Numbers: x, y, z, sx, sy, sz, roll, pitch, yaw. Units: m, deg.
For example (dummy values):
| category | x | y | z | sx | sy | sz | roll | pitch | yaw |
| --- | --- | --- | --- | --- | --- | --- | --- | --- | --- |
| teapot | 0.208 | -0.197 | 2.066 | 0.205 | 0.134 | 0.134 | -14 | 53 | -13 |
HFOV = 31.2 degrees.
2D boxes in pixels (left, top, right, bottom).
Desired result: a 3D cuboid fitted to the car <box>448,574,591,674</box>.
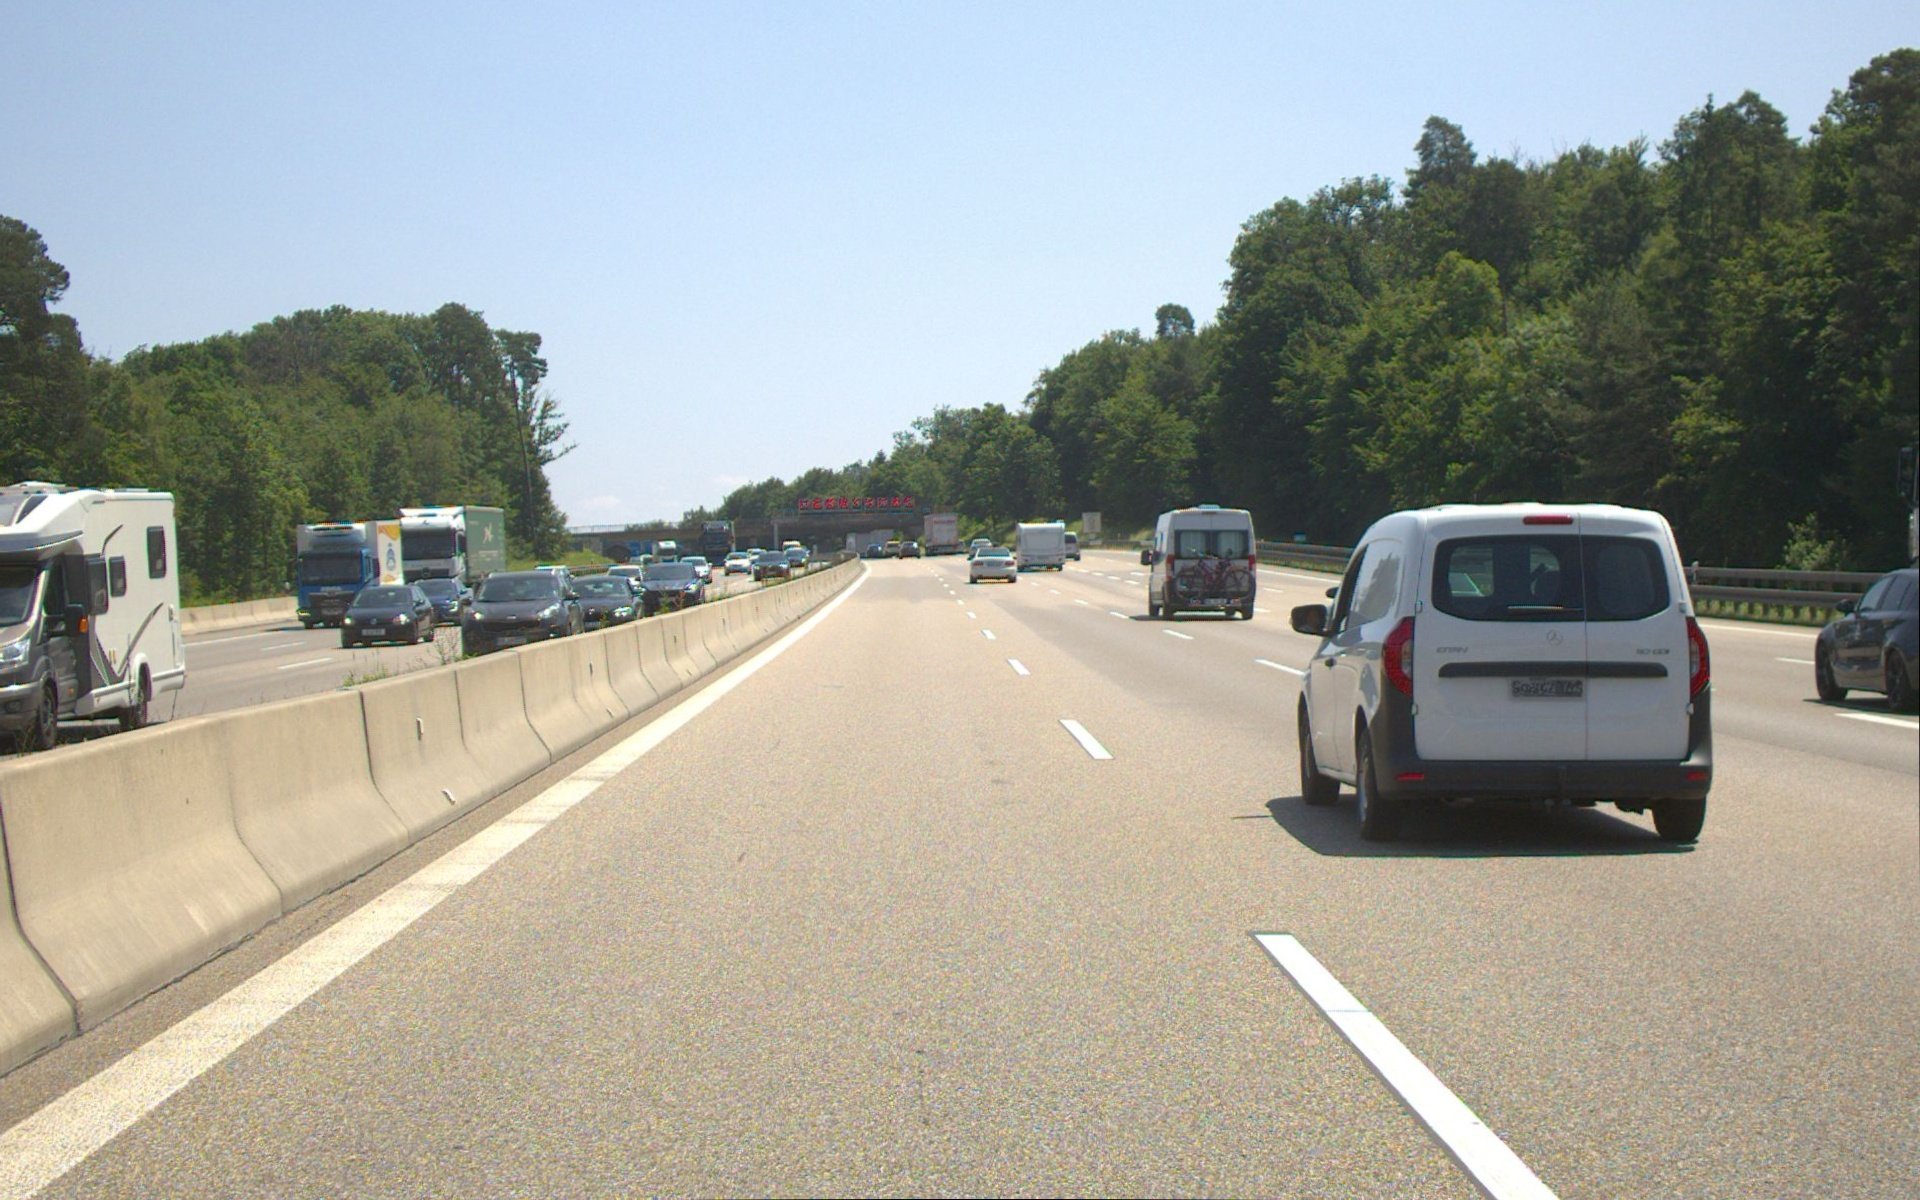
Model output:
| category | x | y | z | sx | sy | sz | roll | pitch | yaw |
| --- | --- | --- | --- | --- | --- | --- | --- | --- | --- |
| car | -7.675 | 0.394 | 60.176 | 1.993 | 1.612 | 4.000 | -2 | 1 | -1 |

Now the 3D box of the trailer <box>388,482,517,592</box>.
| category | x | y | z | sx | sy | sz | roll | pitch | yaw |
| --- | --- | --- | --- | --- | --- | --- | --- | --- | --- |
| trailer | -20.052 | -2.415 | 136.475 | 3.537 | 4.055 | 10.371 | -2 | 0 | -1 |

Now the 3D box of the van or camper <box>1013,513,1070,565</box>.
| category | x | y | z | sx | sy | sz | roll | pitch | yaw |
| --- | --- | --- | --- | --- | --- | --- | --- | --- | --- |
| van or camper | 4.162 | -3.129 | 177.556 | 2.645 | 2.530 | 6.502 | -2 | 0 | -1 |

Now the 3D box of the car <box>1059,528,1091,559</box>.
| category | x | y | z | sx | sy | sz | roll | pitch | yaw |
| --- | --- | --- | --- | --- | --- | --- | --- | --- | --- |
| car | 7.252 | -3.554 | 216.985 | 1.820 | 1.853 | 4.000 | -1 | 1 | -1 |

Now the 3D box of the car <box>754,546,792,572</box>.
| category | x | y | z | sx | sy | sz | roll | pitch | yaw |
| --- | --- | --- | --- | --- | --- | --- | --- | --- | --- |
| car | -9.995 | -2.214 | 184.004 | 1.835 | 1.333 | 3.643 | -2 | 1 | -1 |

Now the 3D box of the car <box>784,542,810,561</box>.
| category | x | y | z | sx | sy | sz | roll | pitch | yaw |
| --- | --- | --- | --- | --- | --- | --- | --- | --- | --- |
| car | -11.748 | -3.477 | 247.692 | 1.730 | 1.333 | 3.643 | -2 | 1 | -1 |

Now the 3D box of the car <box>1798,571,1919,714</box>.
| category | x | y | z | sx | sy | sz | roll | pitch | yaw |
| --- | --- | --- | --- | --- | --- | --- | --- | --- | --- |
| car | 9.771 | 0.378 | 34.381 | 1.670 | 1.269 | 4.290 | -2 | 1 | -1 |

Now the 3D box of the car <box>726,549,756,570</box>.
| category | x | y | z | sx | sy | sz | roll | pitch | yaw |
| --- | --- | --- | --- | --- | --- | --- | --- | --- | --- |
| car | -14.219 | -2.633 | 223.698 | 1.730 | 1.333 | 3.643 | -2 | 1 | -1 |

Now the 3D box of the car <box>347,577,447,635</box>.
| category | x | y | z | sx | sy | sz | roll | pitch | yaw |
| --- | --- | --- | --- | --- | --- | --- | --- | --- | --- |
| car | -13.746 | 0.148 | 84.094 | 1.835 | 1.333 | 3.643 | -2 | 0 | -1 |

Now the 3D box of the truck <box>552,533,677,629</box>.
| category | x | y | z | sx | sy | sz | roll | pitch | yaw |
| --- | --- | --- | --- | --- | --- | --- | --- | --- | --- |
| truck | -7.745 | -0.409 | 77.398 | 2.381 | 2.007 | 4.000 | -2 | 0 | -1 |

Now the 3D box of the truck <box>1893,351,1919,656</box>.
| category | x | y | z | sx | sy | sz | roll | pitch | yaw |
| --- | --- | --- | --- | --- | --- | --- | --- | --- | --- |
| truck | 14.550 | -1.266 | 44.423 | 3.254 | 4.092 | 5.988 | 0 | 1 | -1 |

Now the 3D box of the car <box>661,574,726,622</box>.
| category | x | y | z | sx | sy | sz | roll | pitch | yaw |
| --- | --- | --- | --- | --- | --- | --- | --- | --- | --- |
| car | -8.411 | -0.079 | 108.791 | 1.752 | 1.372 | 4.491 | -2 | 1 | -1 |

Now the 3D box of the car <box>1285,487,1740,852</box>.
| category | x | y | z | sx | sy | sz | roll | pitch | yaw |
| --- | --- | --- | --- | --- | --- | --- | --- | --- | --- |
| car | 2.994 | 0.344 | 19.596 | 1.860 | 1.819 | 4.612 | -1 | 0 | 0 |

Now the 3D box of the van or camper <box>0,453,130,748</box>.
| category | x | y | z | sx | sy | sz | roll | pitch | yaw |
| --- | --- | --- | --- | --- | --- | --- | --- | --- | --- |
| van or camper | -11.029 | 0.023 | 37.071 | 2.198 | 3.046 | 8.028 | -2 | 1 | -1 |

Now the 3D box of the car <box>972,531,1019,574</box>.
| category | x | y | z | sx | sy | sz | roll | pitch | yaw |
| --- | --- | --- | --- | --- | --- | --- | --- | --- | --- |
| car | 1.463 | -1.939 | 141.775 | 1.843 | 1.623 | 4.553 | -2 | 0 | 0 |

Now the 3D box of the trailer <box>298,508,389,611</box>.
| category | x | y | z | sx | sy | sz | roll | pitch | yaw |
| --- | --- | --- | --- | --- | --- | --- | --- | --- | --- |
| trailer | -20.139 | -1.305 | 112.513 | 2.496 | 3.201 | 4.719 | -2 | 0 | -6 |

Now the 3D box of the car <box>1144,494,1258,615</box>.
| category | x | y | z | sx | sy | sz | roll | pitch | yaw |
| --- | --- | --- | --- | --- | --- | --- | --- | --- | --- |
| car | 5.479 | -1.050 | 78.816 | 2.143 | 2.643 | 5.710 | -1 | 1 | -1 |
